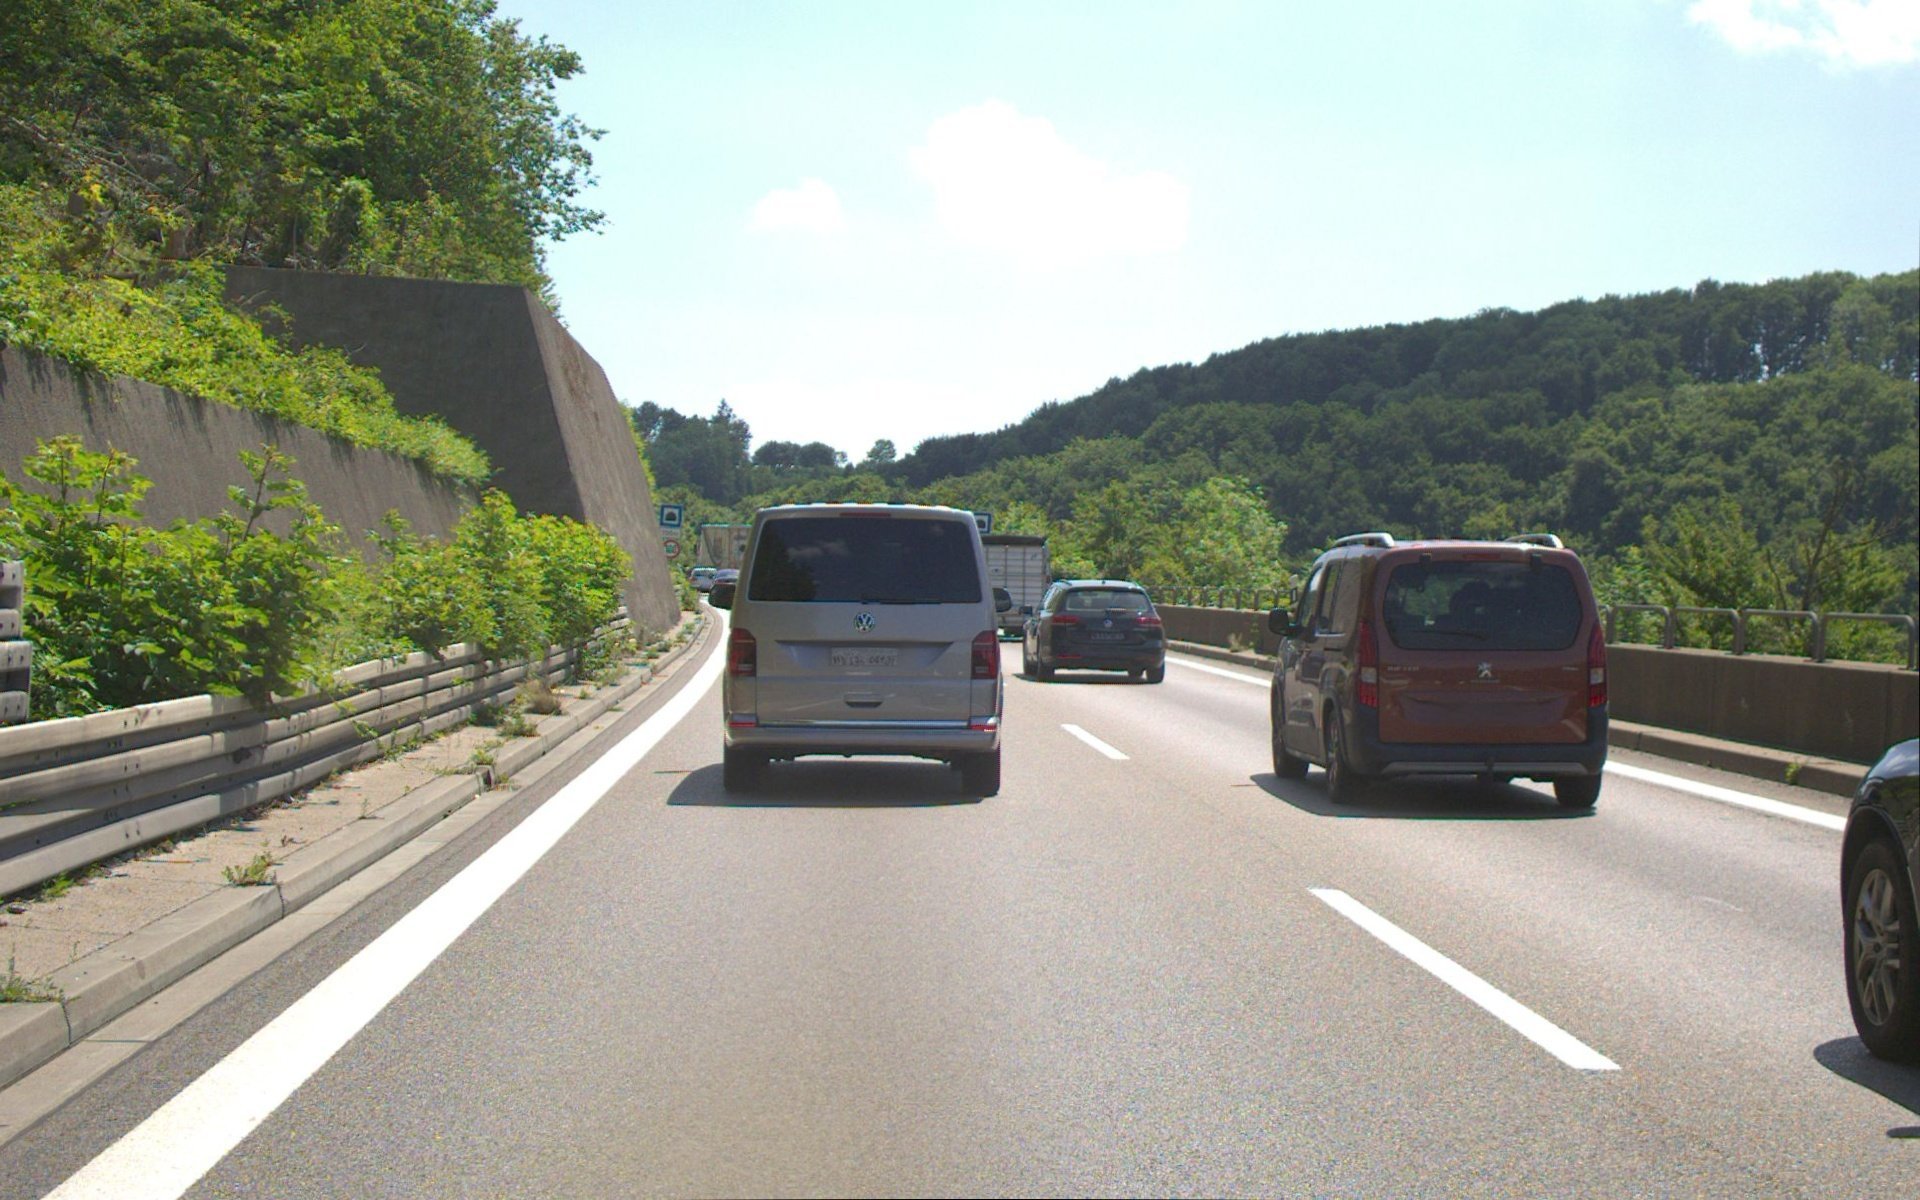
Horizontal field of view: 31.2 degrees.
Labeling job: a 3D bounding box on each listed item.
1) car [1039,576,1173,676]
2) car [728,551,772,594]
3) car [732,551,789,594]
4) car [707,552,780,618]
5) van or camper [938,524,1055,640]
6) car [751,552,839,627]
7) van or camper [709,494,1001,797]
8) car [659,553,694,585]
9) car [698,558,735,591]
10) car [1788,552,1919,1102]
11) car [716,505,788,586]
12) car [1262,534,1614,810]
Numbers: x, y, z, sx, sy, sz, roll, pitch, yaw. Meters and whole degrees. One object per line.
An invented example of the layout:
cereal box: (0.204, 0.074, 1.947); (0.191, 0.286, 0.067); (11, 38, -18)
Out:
car: (2.147, 0.347, 49.859); (1.769, 1.371, 3.592); (1, 1, 5)
car: (-10.059, -1.305, 164.756); (1.993, 2.007, 4.000); (0, 0, -2)
car: (-7.720, -1.075, 133.581); (2.142, 1.601, 5.078); (1, 1, -3)
car: (-6.508, -0.469, 103.577); (1.993, 1.908, 4.000); (1, 0, -1)
van or camper: (0.790, -0.414, 78.015); (2.263, 2.542, 4.737); (0, 0, -4)
car: (-4.215, -0.285, 87.236); (1.993, 1.811, 4.001); (1, 0, -6)
van or camper: (-0.723, 0.298, 24.413); (1.875, 1.943, 4.294); (1, 0, -1)
car: (-16.885, -1.866, 204.737); (1.845, 1.744, 4.001); (-6, 1, -5)
car: (-12.915, -1.353, 182.538); (1.845, 1.744, 4.001); (1, 1, -3)
car: (3.796, 0.686, 9.294); (1.834, 1.628, 4.663); (0, 1, -2)
car: (-12.906, -3.369, 212.620); (4.042, 4.855, 10.111); (1, 1, -5)
car: (3.284, 0.464, 24.488); (1.833, 1.778, 4.676); (0, 0, 0)
